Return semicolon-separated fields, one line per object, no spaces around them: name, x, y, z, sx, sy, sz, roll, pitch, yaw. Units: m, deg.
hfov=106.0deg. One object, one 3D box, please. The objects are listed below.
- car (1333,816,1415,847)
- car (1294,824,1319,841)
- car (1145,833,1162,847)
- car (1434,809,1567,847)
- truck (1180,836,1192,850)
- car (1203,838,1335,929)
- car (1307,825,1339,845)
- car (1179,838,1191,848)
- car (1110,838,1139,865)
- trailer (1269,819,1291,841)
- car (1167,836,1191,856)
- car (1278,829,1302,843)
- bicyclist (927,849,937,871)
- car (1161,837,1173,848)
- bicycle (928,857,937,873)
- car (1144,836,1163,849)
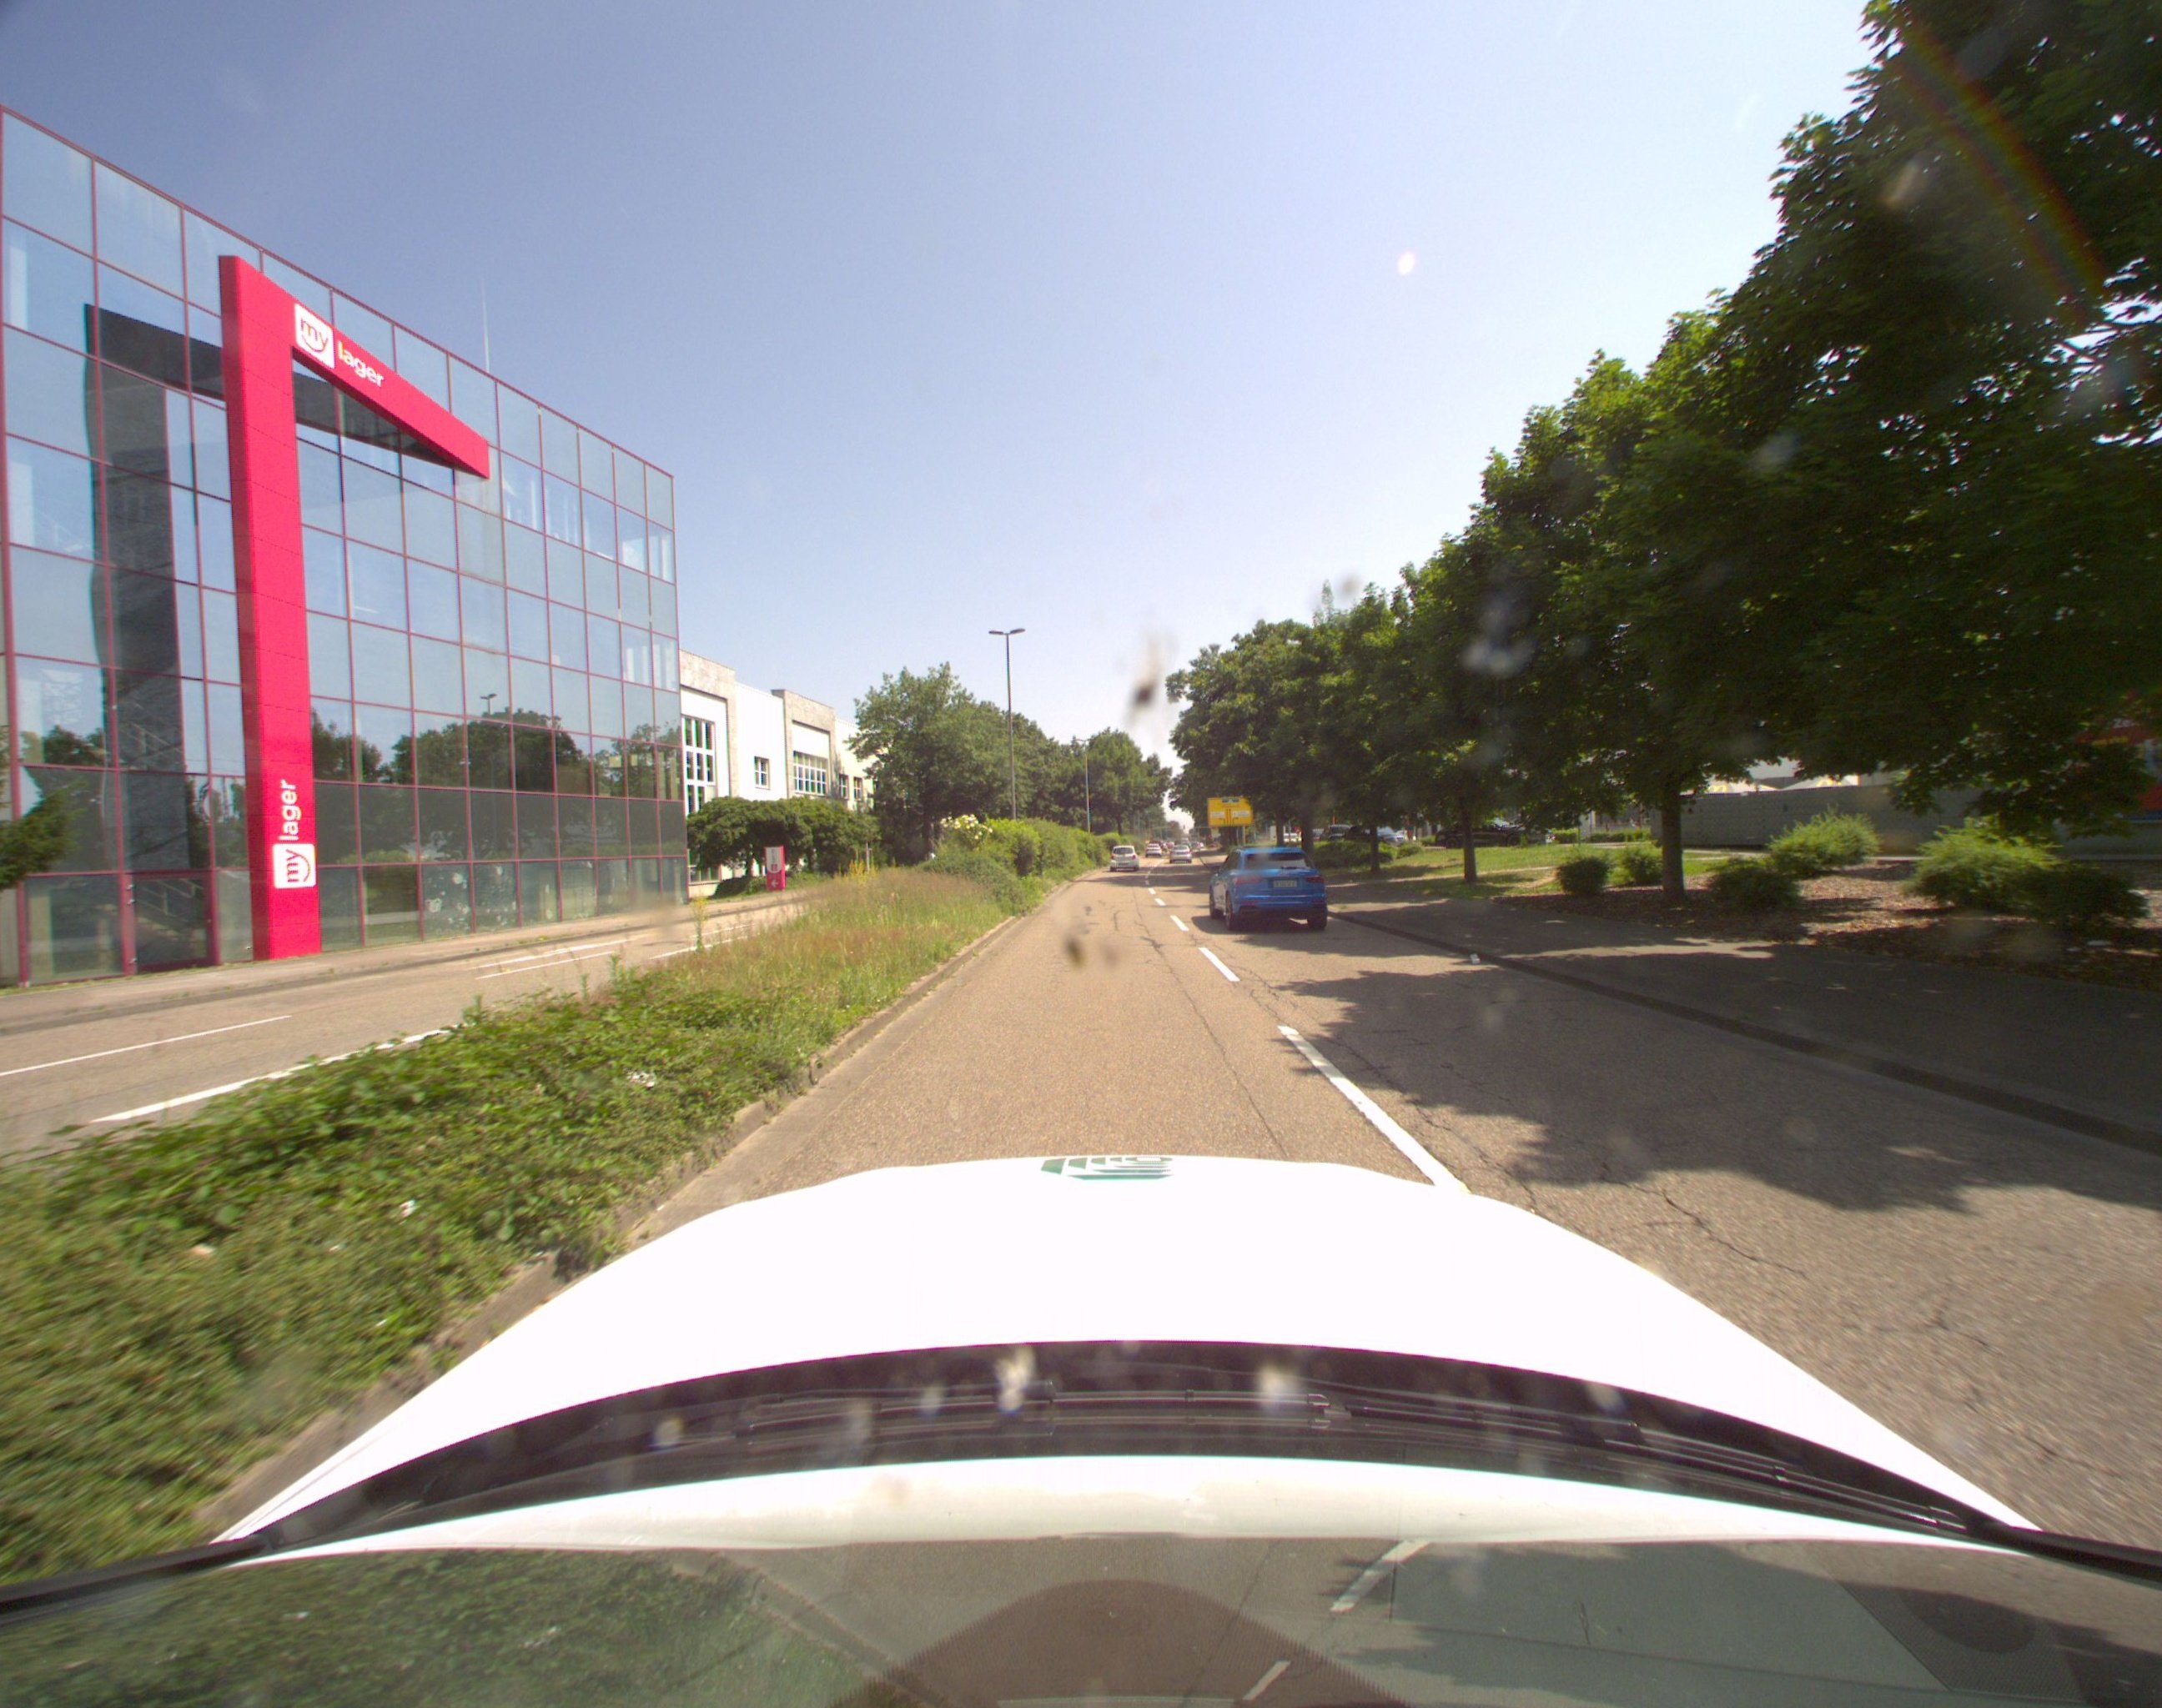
car;15.004;-1.100;42.141;1.902;1.451;5.593;-1;0;-4
car;17.687;-1.668;64.022;1.609;1.253;3.878;-1;0;11
car;9.092;-1.783;101.774;1.874;1.608;4.009;-3;1;7
car;17.524;-1.048;34.261;1.959;1.351;4.670;-4;1;-30
truck;27.318;-2.859;211.046;2.916;3.502;9.178;-2;1;7
car;3.683;0.528;16.713;1.802;1.593;4.351;-1;0;2
car;16.160;-1.224;54.519;1.609;1.253;3.775;-1;0;11
car;15.760;-1.703;123.636;1.435;1.348;3.462;-3;0;2
car;2.642;-0.162;49.220;1.631;1.552;3.328;-1;0;3
trailer;19.631;-2.340;80.497;1.690;2.055;5.499;-1;1;10
car;7.748;-0.645;64.339;1.856;1.473;4.008;-1;0;7
car;18.326;-1.583;71.400;1.585;1.158;3.745;-1;0;7
bicyclist;-10.572;0.450;57.651;0.543;1.509;0.343;-3;1;2
car;12.253;-1.627;115.683;1.481;1.392;3.309;-1;0;2
bicycle;-10.494;0.761;57.620;0.345;1.067;0.923;-3;1;2
car;7.937;-1.226;88.498;1.874;1.354;4.009;-1;0;8
